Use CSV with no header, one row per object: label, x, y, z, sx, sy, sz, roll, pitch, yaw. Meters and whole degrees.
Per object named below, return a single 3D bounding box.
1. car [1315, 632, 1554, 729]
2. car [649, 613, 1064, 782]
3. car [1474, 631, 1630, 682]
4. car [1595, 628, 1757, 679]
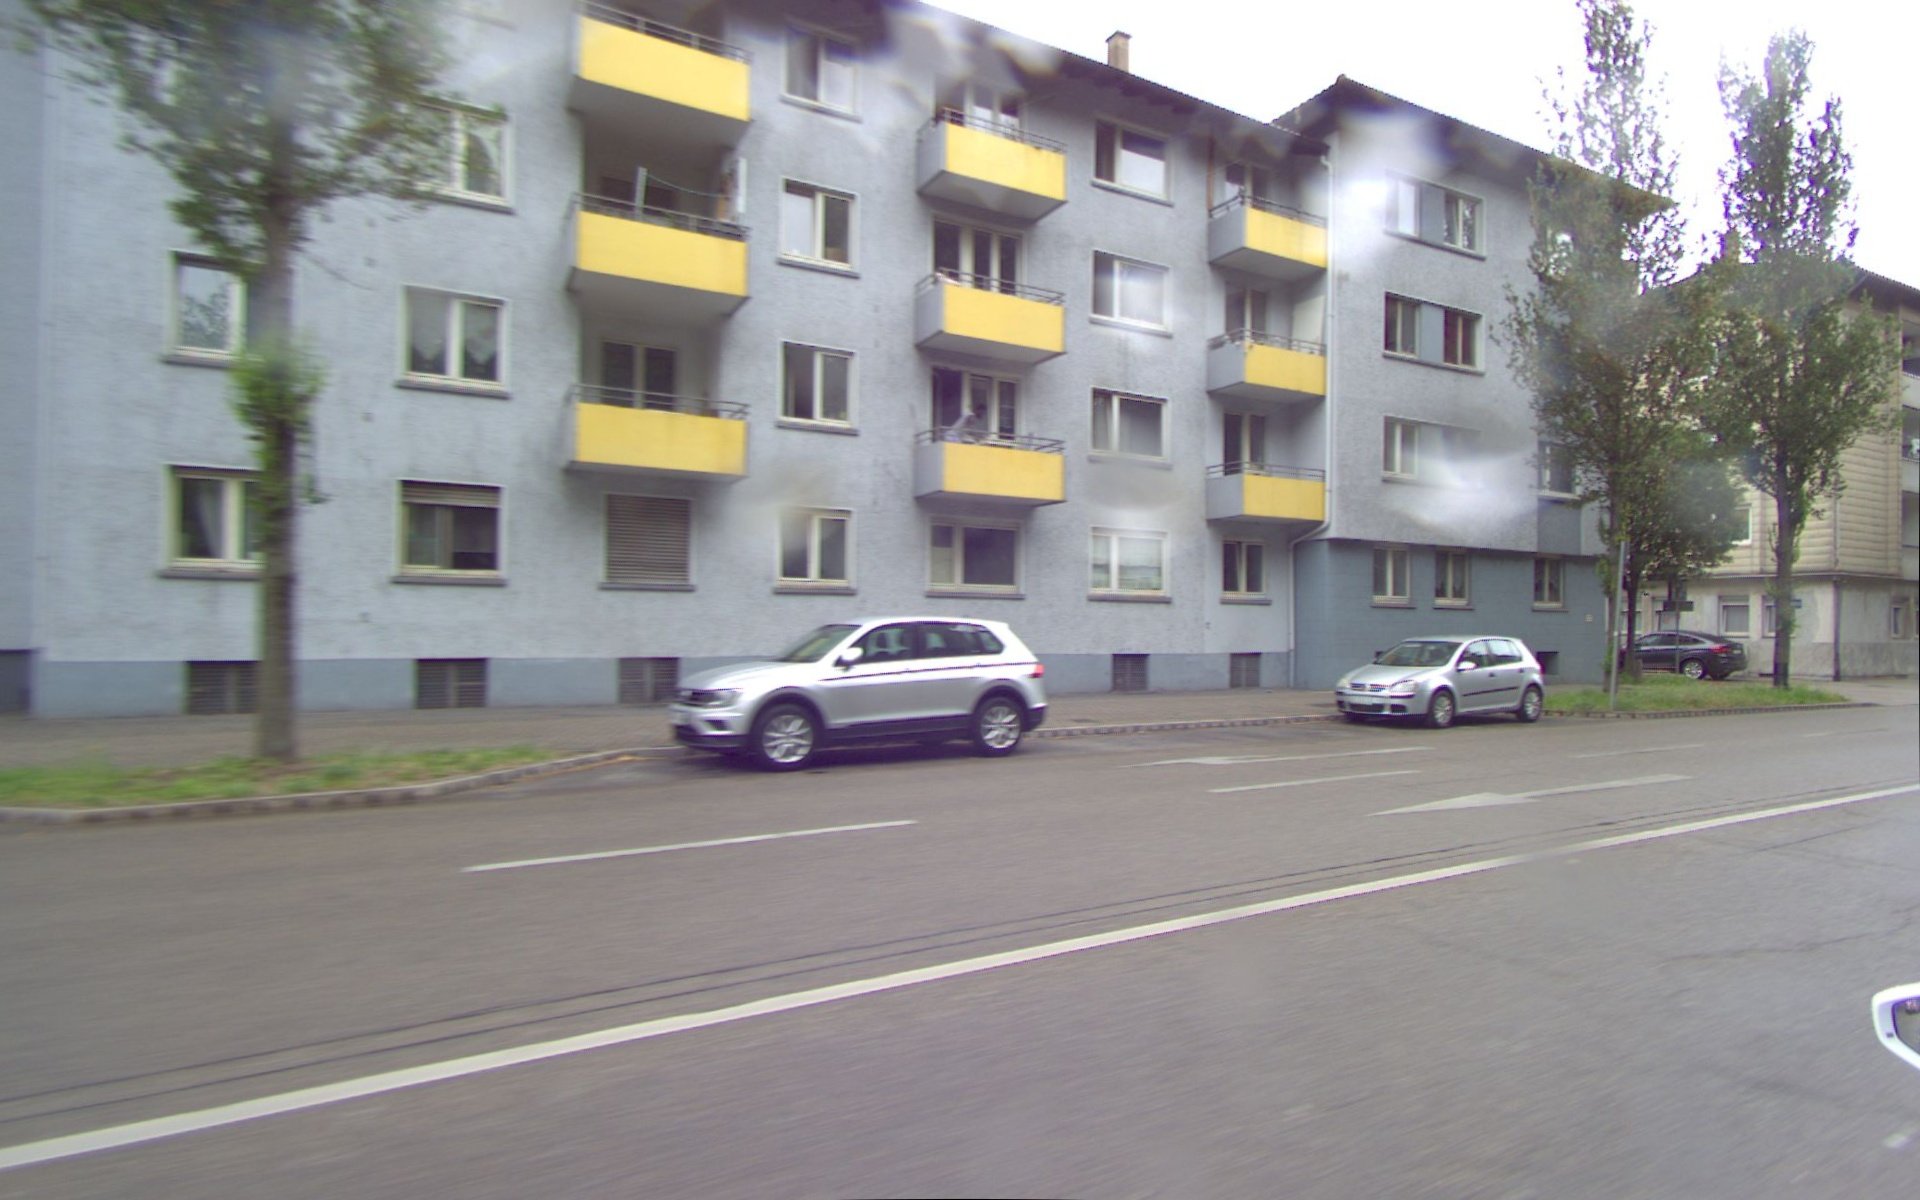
car,8.139,1.310,17.142,4.158,1.472,1.715,2,-2,-32
car,-1.100,1.007,11.598,4.484,1.625,1.754,1,-2,-32
car,18.549,1.774,31.665,3.920,1.513,1.715,0,-3,16
car,24.481,1.773,34.491,1.901,1.600,4.134,1,-1,-27
